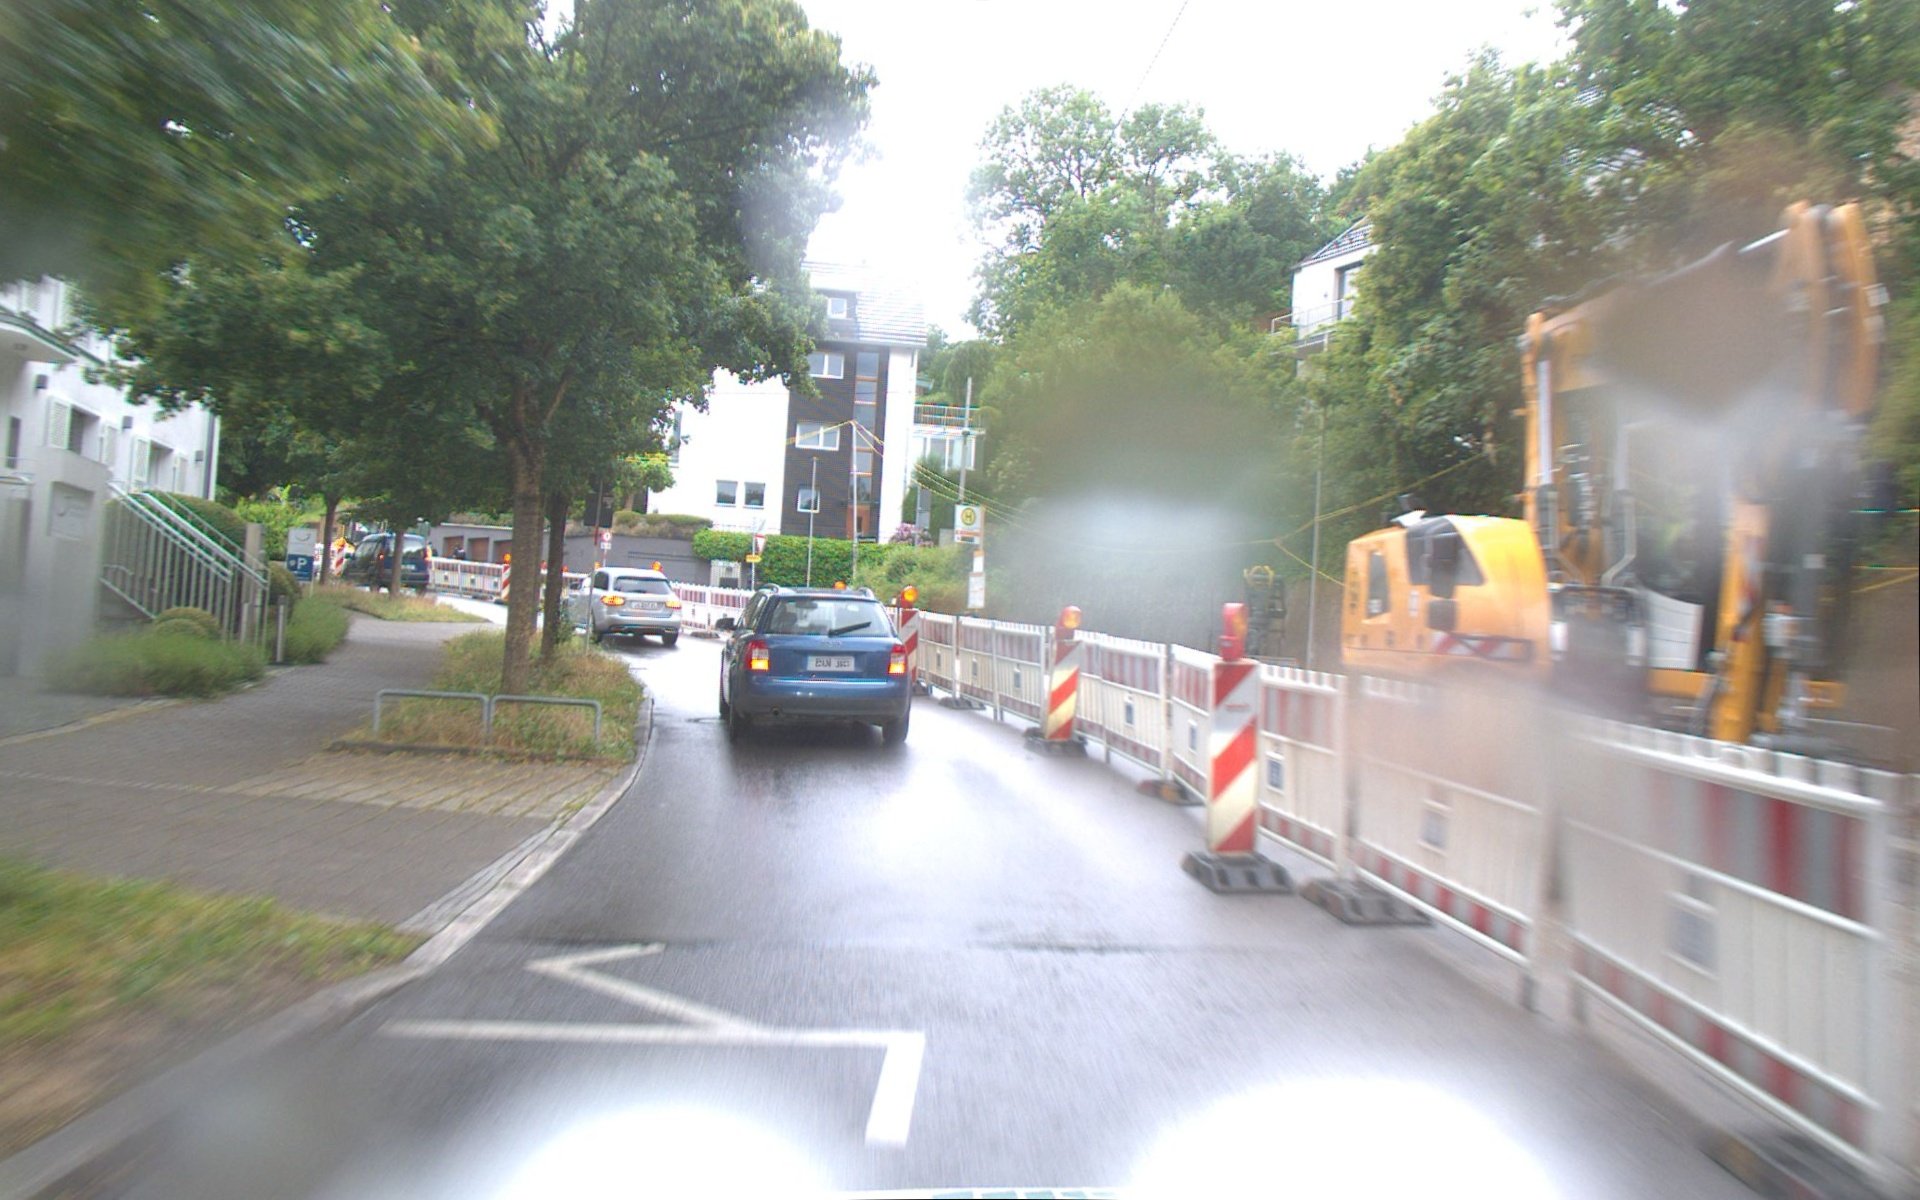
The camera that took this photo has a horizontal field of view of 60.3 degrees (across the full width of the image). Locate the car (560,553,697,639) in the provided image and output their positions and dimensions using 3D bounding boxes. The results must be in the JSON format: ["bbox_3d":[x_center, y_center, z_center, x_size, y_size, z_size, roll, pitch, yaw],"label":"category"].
[{"bbox_3d":[-6.913,-0.112,34.167,1.900,1.646,4.290,1,1,-23],"label":"car"}]

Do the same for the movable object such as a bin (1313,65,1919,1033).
[{"bbox_3d":[4.558,-0.229,10.714,2.762,4.084,7.326,2,1,-1],"label":"movable object such as a bin"}]

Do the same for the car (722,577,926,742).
[{"bbox_3d":[-1.491,0.533,16.772,1.753,1.467,3.955,0,0,-9],"label":"car"}]

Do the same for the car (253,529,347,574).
[{"bbox_3d":[-23.855,-1.722,59.692,4.008,1.512,1.714,0,-1,45],"label":"car"}]

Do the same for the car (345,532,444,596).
[{"bbox_3d":[-17.331,-1.062,50.616,1.975,1.825,3.954,1,-1,-33],"label":"car"}]
